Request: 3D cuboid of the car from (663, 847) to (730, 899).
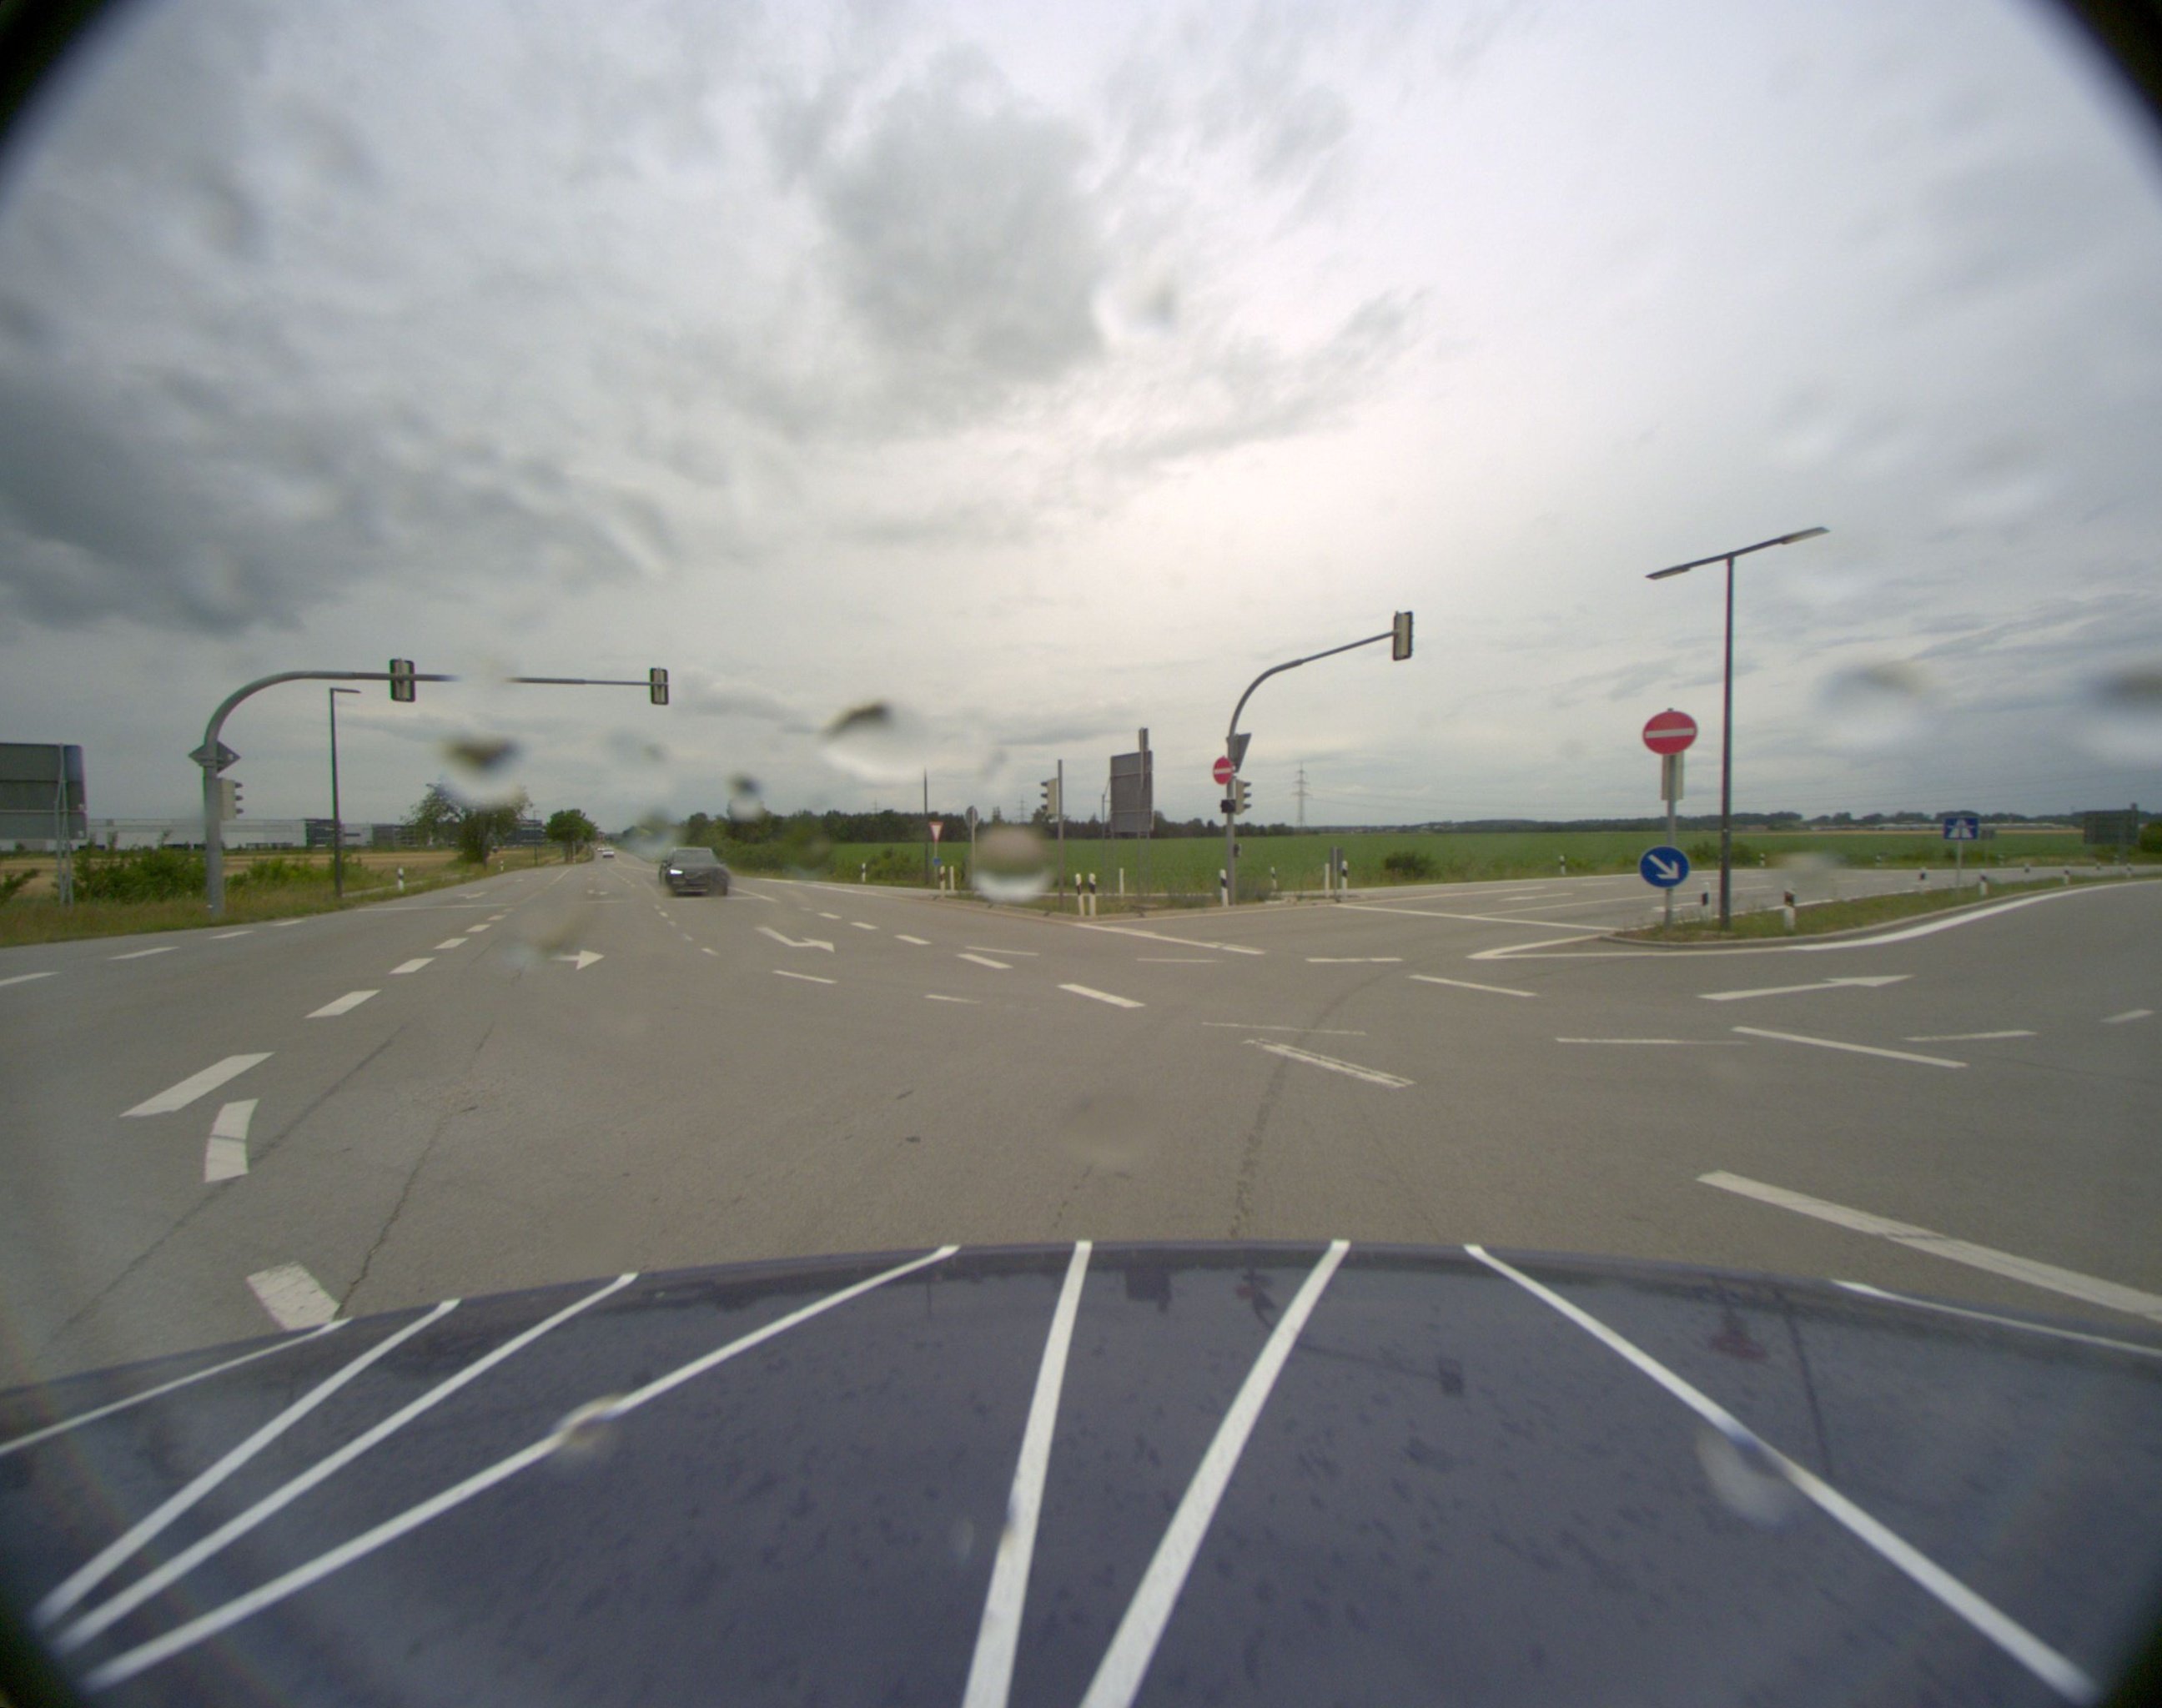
[{"bbox_3d":[-14.203,0.614,28.126,2.003,1.674,4.987,-1,1,-27],"label":"car"}]
